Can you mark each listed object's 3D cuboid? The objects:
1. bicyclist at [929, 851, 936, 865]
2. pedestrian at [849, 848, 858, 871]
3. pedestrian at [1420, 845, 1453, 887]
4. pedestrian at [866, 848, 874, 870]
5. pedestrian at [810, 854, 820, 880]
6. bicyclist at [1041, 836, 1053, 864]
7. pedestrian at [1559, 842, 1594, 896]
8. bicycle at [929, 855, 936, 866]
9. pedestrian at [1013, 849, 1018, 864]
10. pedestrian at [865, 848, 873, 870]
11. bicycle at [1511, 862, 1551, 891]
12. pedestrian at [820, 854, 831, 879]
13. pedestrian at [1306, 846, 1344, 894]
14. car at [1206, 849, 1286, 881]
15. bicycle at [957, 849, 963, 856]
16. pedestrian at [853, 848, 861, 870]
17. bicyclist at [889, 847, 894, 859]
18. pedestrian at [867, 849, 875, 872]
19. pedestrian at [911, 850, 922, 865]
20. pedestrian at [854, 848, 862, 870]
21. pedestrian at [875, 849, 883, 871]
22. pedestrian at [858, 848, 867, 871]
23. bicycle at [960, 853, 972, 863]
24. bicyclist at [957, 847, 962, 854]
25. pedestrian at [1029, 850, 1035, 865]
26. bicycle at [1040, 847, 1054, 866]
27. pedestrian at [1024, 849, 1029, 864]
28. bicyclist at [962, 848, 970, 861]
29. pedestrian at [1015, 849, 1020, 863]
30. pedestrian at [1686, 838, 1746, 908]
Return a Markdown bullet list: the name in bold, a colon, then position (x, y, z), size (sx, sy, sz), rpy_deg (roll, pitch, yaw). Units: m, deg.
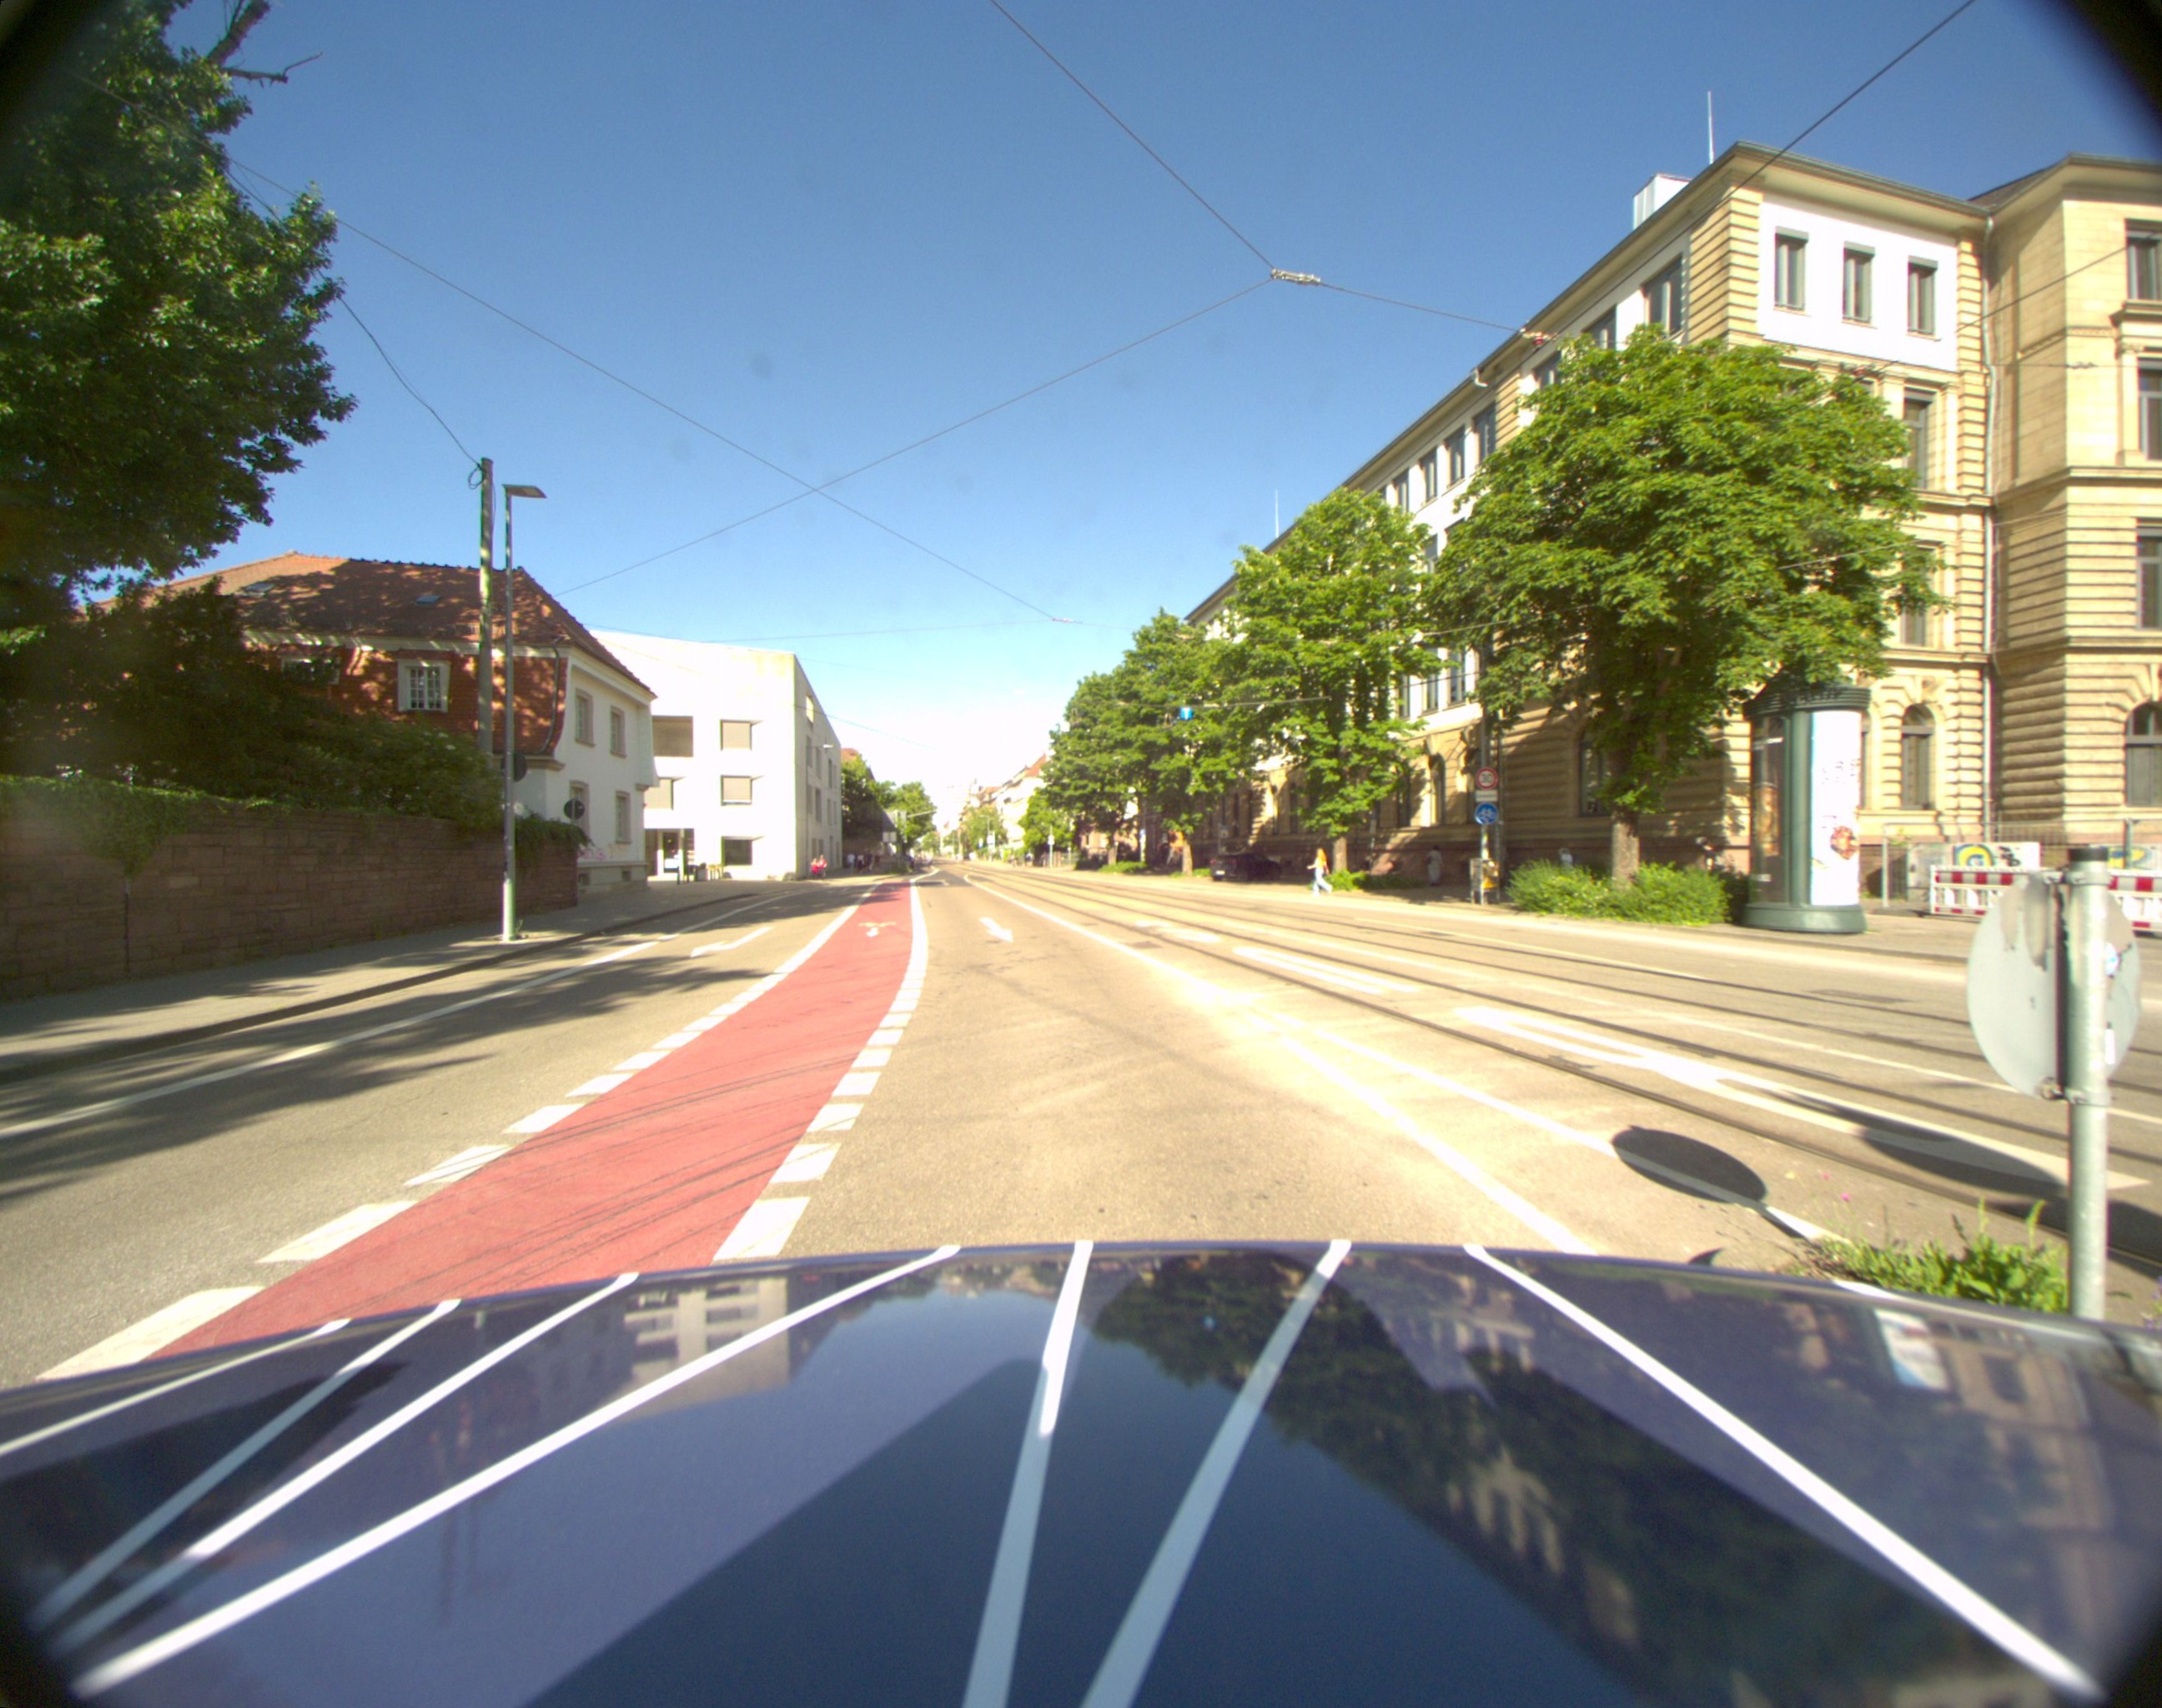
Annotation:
- **bicyclist**: position (-16.315, 0.420, 83.509), size (0.665, 1.453, 0.622), rpy_deg (-2, 2, -8)
- **pedestrian**: position (-18.077, 0.434, 60.355), size (0.588, 1.795, 0.545), rpy_deg (-1, 1, -13)
- **pedestrian**: position (13.750, 0.447, 29.381), size (0.858, 1.558, 0.672), rpy_deg (-4, 2, -9)
- **pedestrian**: position (-17.483, 0.416, 62.814), size (0.588, 1.795, 0.582), rpy_deg (-1, 1, -13)
- **pedestrian**: position (-16.411, 0.789, 46.921), size (0.535, 1.557, 0.519), rpy_deg (-1, 1, -13)
- **bicyclist**: position (-3.637, -0.464, 81.237), size (1.003, 2.959, 1.474), rpy_deg (-2, 2, 3)
- **pedestrian**: position (14.522, 0.431, 22.280), size (0.579, 1.553, 0.653), rpy_deg (0, 1, -12)
- **bicycle**: position (-16.310, 0.734, 83.538), size (0.665, 1.146, 1.670), rpy_deg (-2, 2, -8)
- **pedestrian**: position (-8.209, 0.334, 95.217), size (0.579, 1.845, 0.684), rpy_deg (0, 1, -11)
- **pedestrian**: position (-17.929, 0.413, 64.167), size (0.588, 1.795, 0.545), rpy_deg (-1, 1, -13)
- **bicycle**: position (15.257, 0.752, 25.791), size (0.398, 0.898, 1.359), rpy_deg (-2, 2, -10)
- **pedestrian**: position (-15.744, 0.774, 46.826), size (0.535, 1.557, 0.519), rpy_deg (-1, 1, -13)
- **pedestrian**: position (8.772, 0.595, 27.329), size (0.773, 1.658, 1.032), rpy_deg (2, -4, -25)
- **car**: position (8.624, 0.543, 39.481), size (4.118, 1.565, 1.916), rpy_deg (-1, 1, -39)
- **bicycle**: position (-28.294, -0.394, 177.529), size (1.004, 1.672, 2.981), rpy_deg (-2, 2, -12)
- **pedestrian**: position (-18.366, 0.403, 62.407), size (0.588, 1.795, 0.582), rpy_deg (-1, 1, -13)
- **bicyclist**: position (-35.009, -0.234, 140.454), size (0.813, 2.194, 0.983), rpy_deg (-2, 2, -10)
- **pedestrian**: position (-16.775, 0.520, 60.653), size (0.588, 1.795, 0.519), rpy_deg (-1, 1, -13)
- **pedestrian**: position (-18.288, 0.400, 84.402), size (0.933, 1.728, 0.677), rpy_deg (-1, 1, -41)
- **pedestrian**: position (-18.765, 0.401, 63.897), size (0.588, 1.795, 0.545), rpy_deg (-1, 1, -13)
- **pedestrian**: position (-16.205, 0.482, 60.877), size (0.588, 1.717, 0.519), rpy_deg (-1, 1, -13)
- **pedestrian**: position (-17.390, 0.439, 60.514), size (0.588, 1.795, 0.545), rpy_deg (-1, 1, -13)
- **bicycle**: position (-20.764, 0.695, 137.267), size (1.005, 1.672, 2.977), rpy_deg (-3, 2, -30)
- **bicyclist**: position (-28.309, -0.850, 177.507), size (1.004, 1.712, 0.983), rpy_deg (-2, 2, -12)
- **pedestrian**: position (-5.783, 0.407, 89.643), size (0.729, 1.845, 0.653), rpy_deg (0, 1, -9)
- **bicycle**: position (-3.621, 0.254, 81.205), size (1.003, 1.876, 3.894), rpy_deg (-1, 2, 4)
- **pedestrian**: position (-6.700, 0.269, 93.179), size (0.579, 1.845, 0.653), rpy_deg (0, 1, -11)
- **bicyclist**: position (-20.755, 0.137, 137.217), size (1.005, 2.255, 1.018), rpy_deg (-3, 2, -30)
- **pedestrian**: position (-8.245, 0.236, 99.029), size (0.579, 1.845, 0.684), rpy_deg (0, 1, -11)
- **pedestrian**: position (15.858, 0.452, 18.976), size (0.731, 1.660, 0.844), rpy_deg (-1, 3, -22)
